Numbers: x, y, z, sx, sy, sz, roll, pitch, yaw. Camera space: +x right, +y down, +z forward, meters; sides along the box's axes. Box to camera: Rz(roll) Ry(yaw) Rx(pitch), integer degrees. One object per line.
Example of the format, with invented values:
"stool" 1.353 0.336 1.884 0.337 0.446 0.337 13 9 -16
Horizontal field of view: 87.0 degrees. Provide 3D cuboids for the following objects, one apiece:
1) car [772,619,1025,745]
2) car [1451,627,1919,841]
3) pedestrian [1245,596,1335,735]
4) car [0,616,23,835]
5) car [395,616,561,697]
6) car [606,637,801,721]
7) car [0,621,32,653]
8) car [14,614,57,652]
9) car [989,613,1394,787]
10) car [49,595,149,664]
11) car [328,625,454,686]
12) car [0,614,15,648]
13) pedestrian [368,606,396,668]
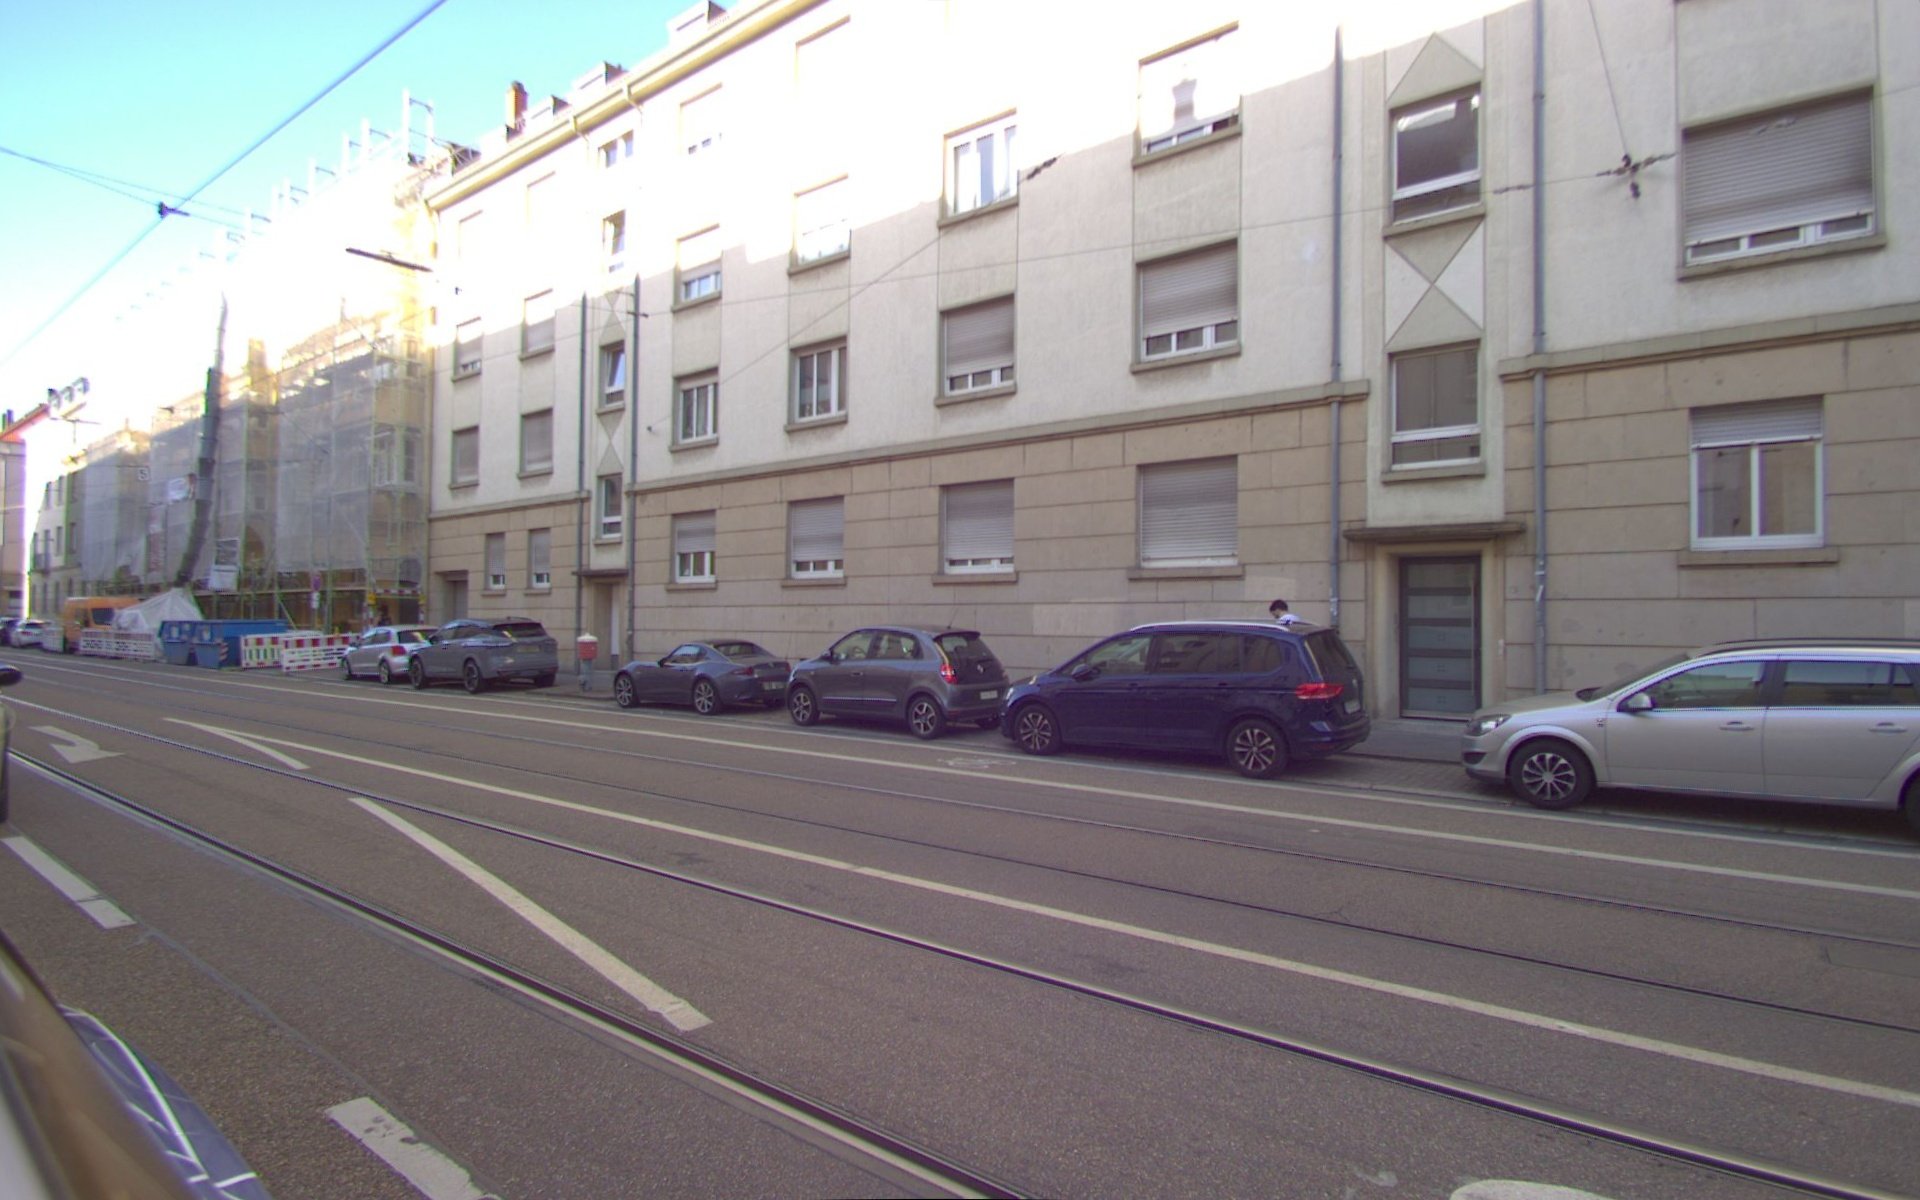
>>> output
"car" -0.969 1.107 15.005 3.591 1.570 1.623 0 1 39
"car" 6.775 1.025 8.683 4.364 1.465 1.709 0 1 38
"pedestrian" 4.400 0.842 13.483 1.002 1.781 0.657 -1 0 32
"car" -8.226 0.858 7.309 3.814 1.436 1.705 -2 -3 41
"car" -11.087 1.221 23.165 4.153 1.621 1.731 0 1 38
"car" -4.577 1.328 17.879 3.518 1.229 1.458 0 1 38
"car" -54.518 2.103 57.954 3.933 1.696 1.550 0 0 40
"car" -49.660 1.744 54.345 1.635 1.937 3.768 -1 0 -44
"car" 2.616 1.003 11.955 4.318 1.645 1.797 0 1 38
"car" -36.436 1.194 42.772 5.867 2.717 2.187 -1 0 39
"car" -14.627 1.374 25.967 3.502 1.390 1.546 0 1 38
"car" -59.385 1.894 62.063 4.181 1.971 1.550 0 0 40
"pedestrian" -18.064 1.150 31.614 0.762 1.886 0.513 -1 0 39
